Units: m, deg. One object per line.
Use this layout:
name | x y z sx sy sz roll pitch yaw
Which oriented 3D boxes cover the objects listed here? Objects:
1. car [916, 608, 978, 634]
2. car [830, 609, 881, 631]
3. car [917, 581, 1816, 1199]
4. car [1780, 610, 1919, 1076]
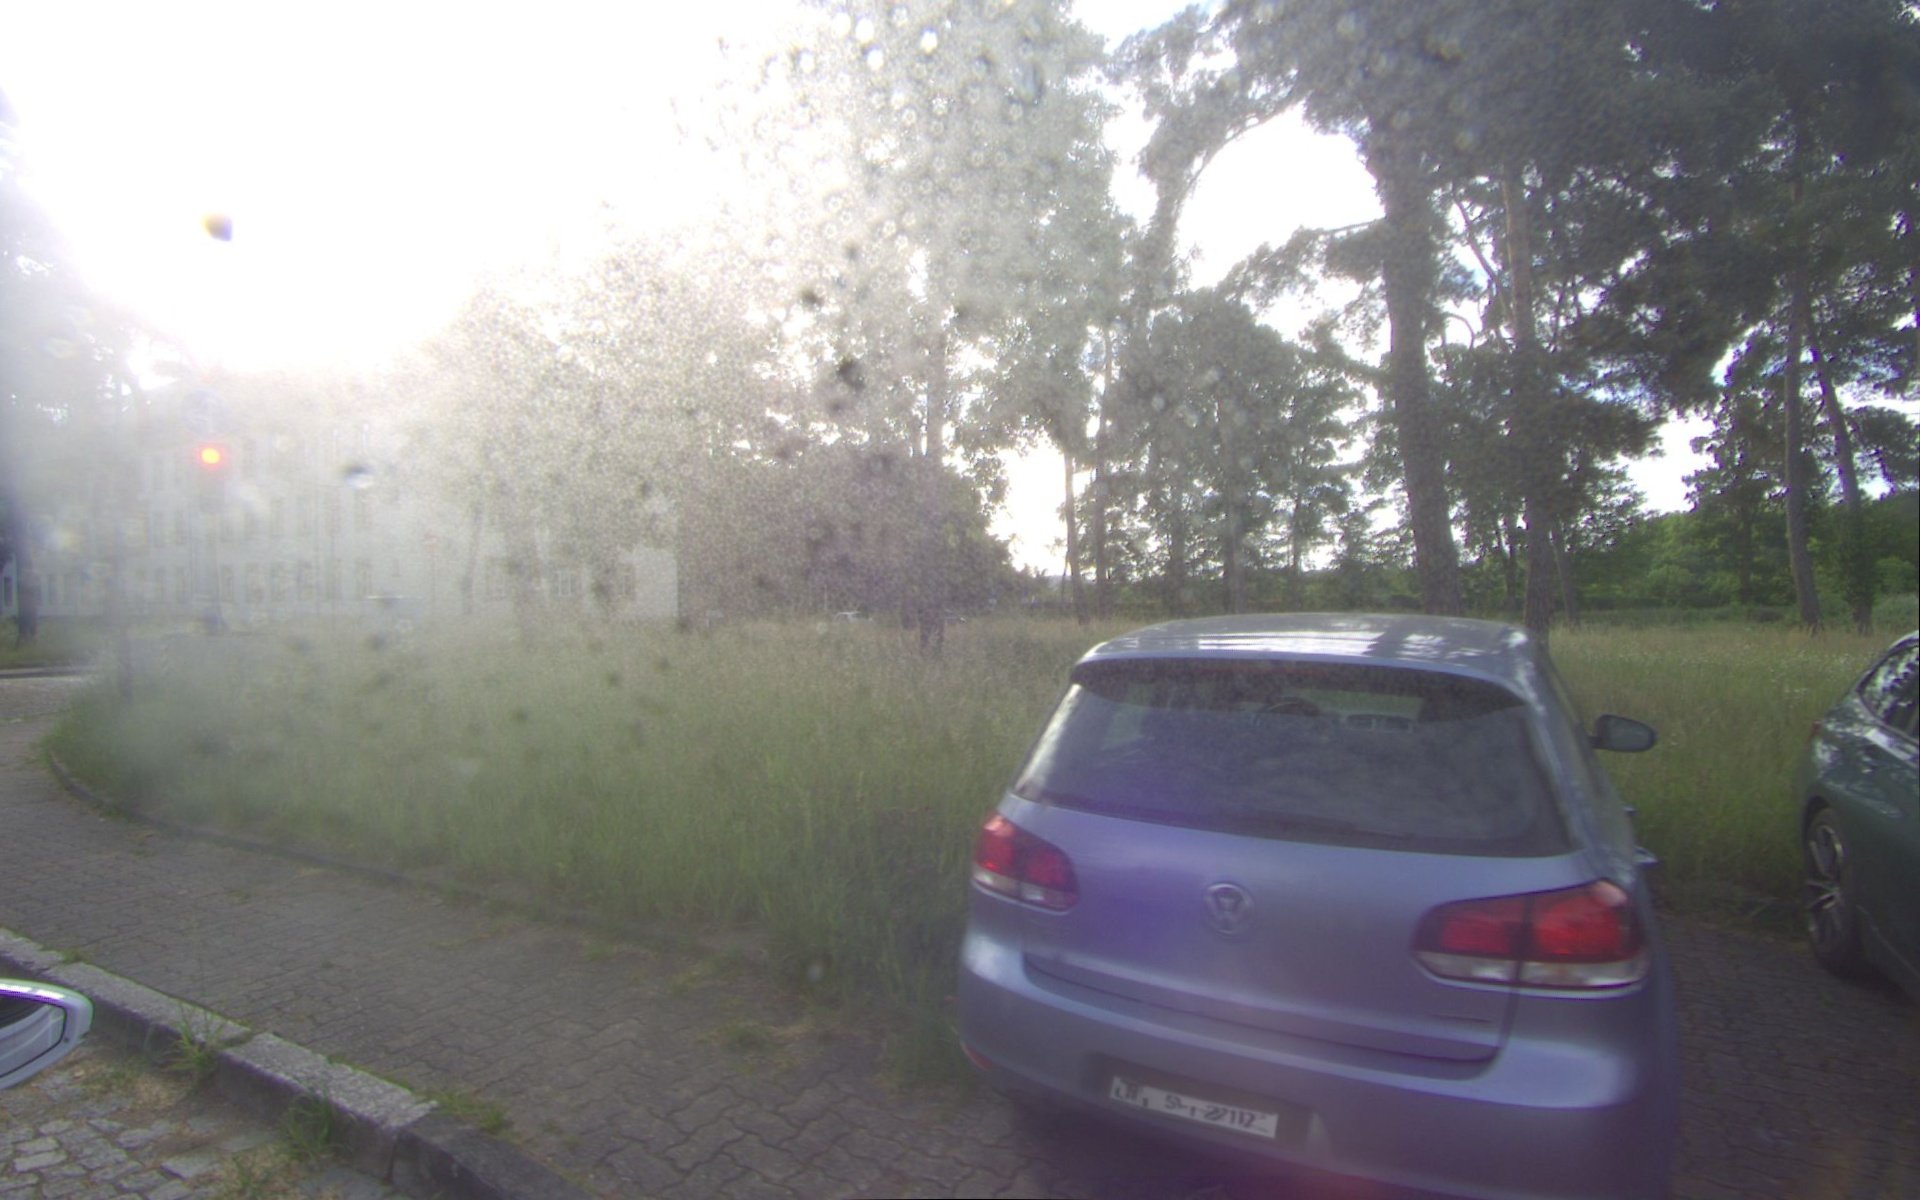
car | -0.884 1.360 65.475 3.923 1.622 1.999 0 0 -6
car | -7.362 1.435 70.716 1.540 1.415 3.983 0 -3 31
car | 1.515 0.734 3.626 1.616 1.490 3.839 0 0 28
car | 3.670 0.785 2.391 1.779 1.503 4.509 0 0 28
